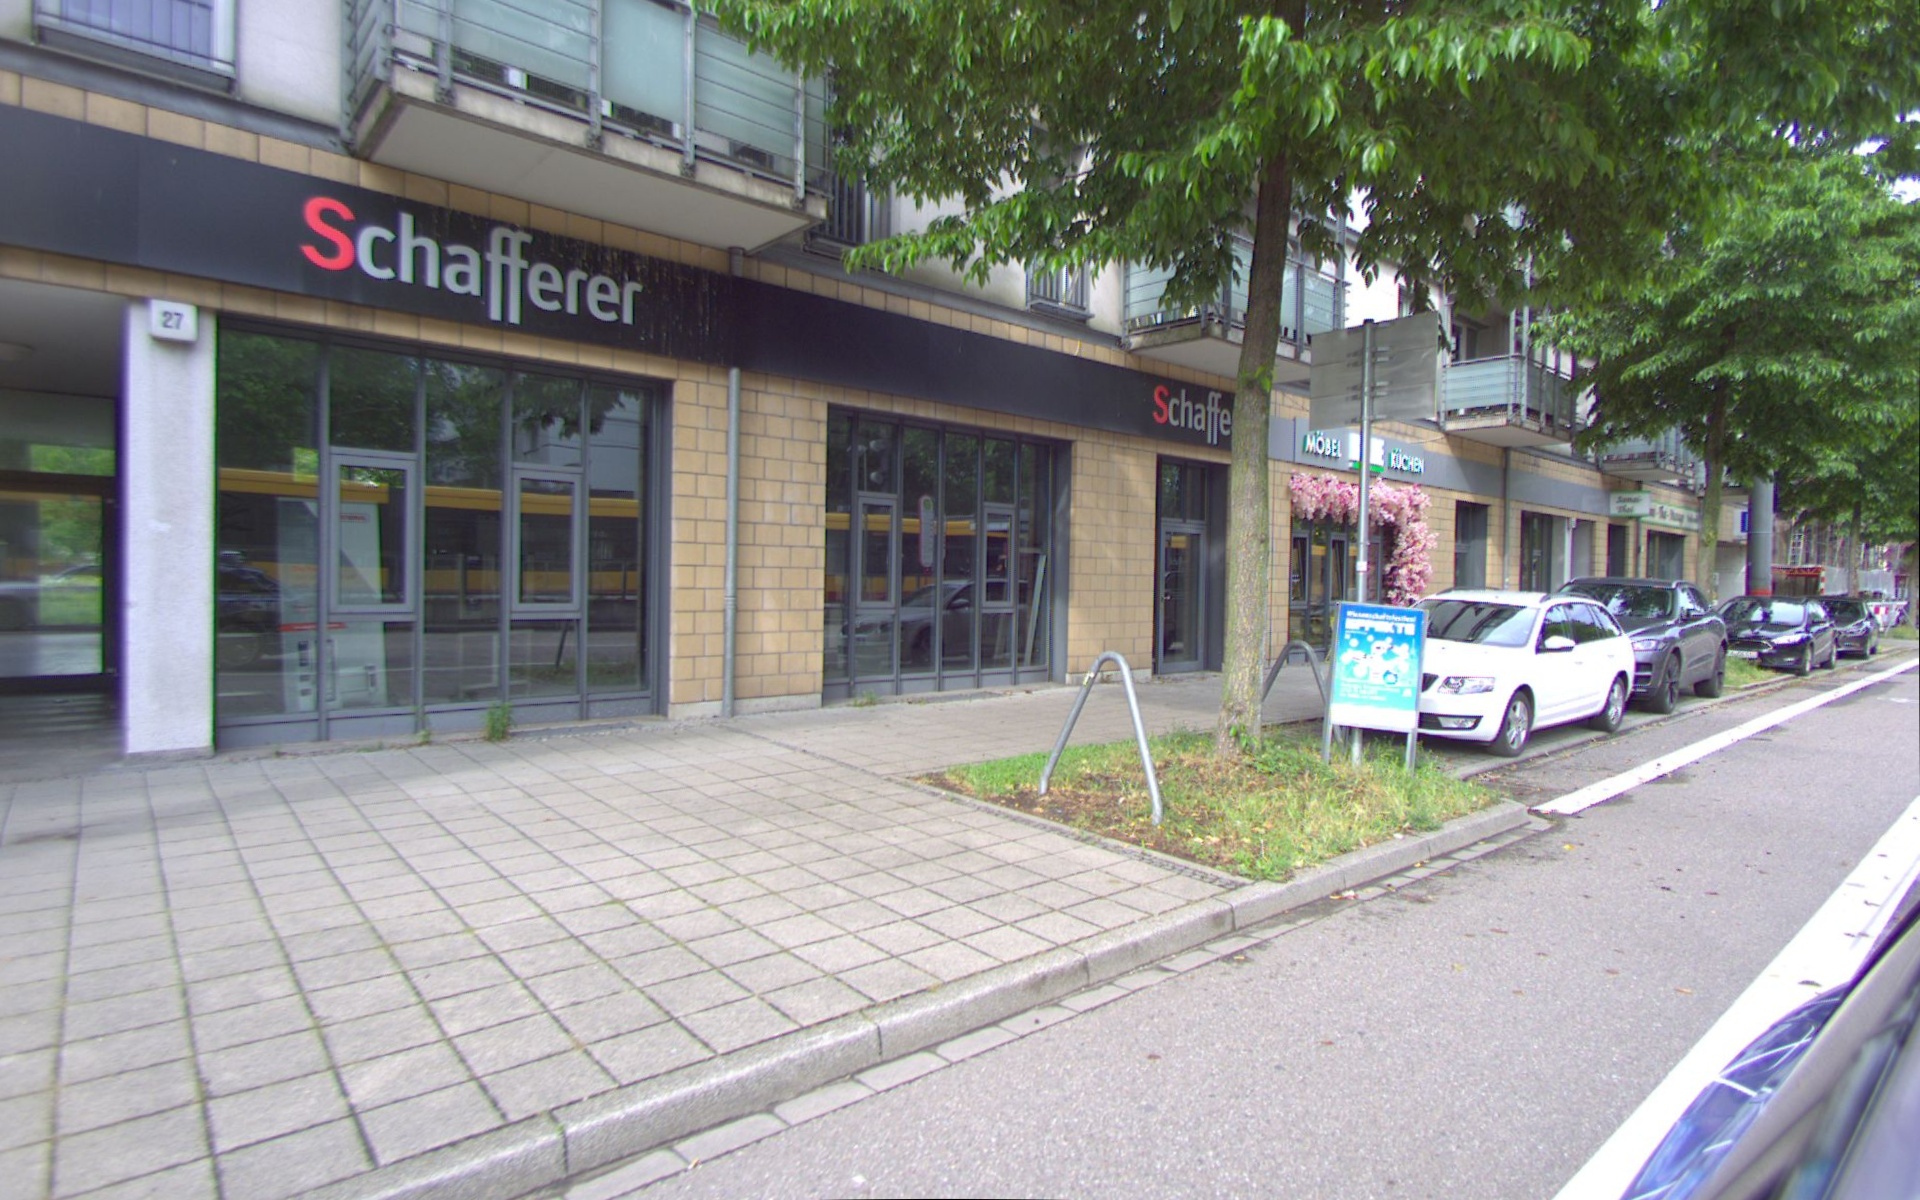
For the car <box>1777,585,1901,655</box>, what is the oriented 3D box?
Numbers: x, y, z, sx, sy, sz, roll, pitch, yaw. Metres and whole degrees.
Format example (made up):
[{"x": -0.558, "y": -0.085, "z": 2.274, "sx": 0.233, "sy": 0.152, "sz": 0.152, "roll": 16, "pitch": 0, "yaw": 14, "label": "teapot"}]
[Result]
[{"x": 21.740, "y": 0.426, "z": 24.981, "sx": 4.315, "sy": 1.473, "sz": 1.800, "roll": -1, "pitch": 5, "yaw": -43, "label": "car"}]

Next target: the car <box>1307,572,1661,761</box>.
[{"x": 5.588, "y": 0.530, "z": 10.552, "sx": 4.312, "sy": 1.517, "sz": 1.681, "roll": 0, "pitch": 4, "yaw": -40, "label": "car"}]

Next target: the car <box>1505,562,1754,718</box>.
[{"x": 9.336, "y": 0.416, "z": 13.947, "sx": 4.632, "sy": 1.737, "sz": 1.715, "roll": -1, "pitch": 4, "yaw": -43, "label": "car"}]

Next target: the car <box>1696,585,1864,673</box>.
[{"x": 16.177, "y": 0.483, "z": 19.895, "sx": 4.329, "sy": 1.459, "sz": 1.681, "roll": 0, "pitch": 4, "yaw": -40, "label": "car"}]

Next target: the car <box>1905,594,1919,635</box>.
[{"x": 37.709, "y": 0.576, "z": 38.783, "sx": 4.206, "sy": 1.478, "sz": 1.754, "roll": -1, "pitch": 3, "yaw": -42, "label": "car"}]
